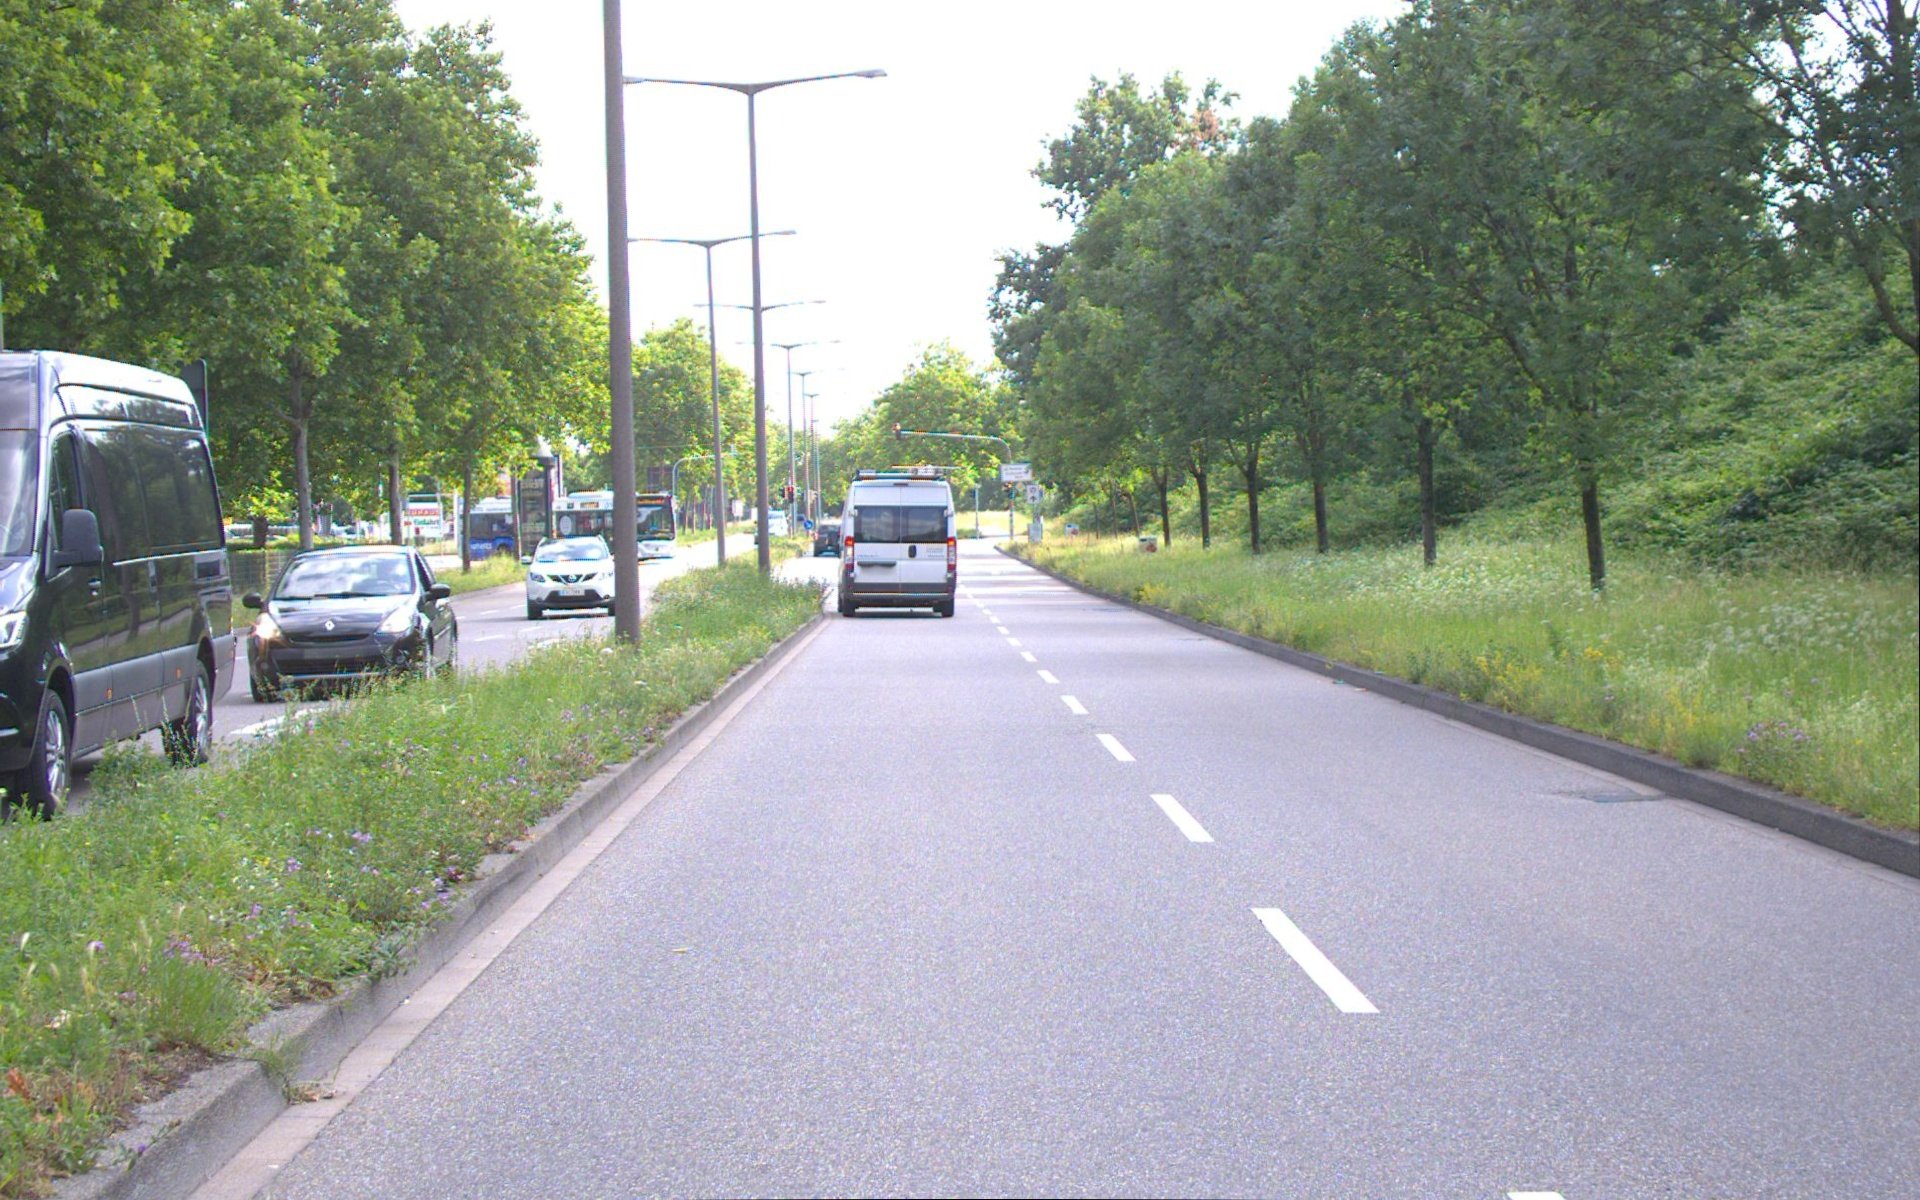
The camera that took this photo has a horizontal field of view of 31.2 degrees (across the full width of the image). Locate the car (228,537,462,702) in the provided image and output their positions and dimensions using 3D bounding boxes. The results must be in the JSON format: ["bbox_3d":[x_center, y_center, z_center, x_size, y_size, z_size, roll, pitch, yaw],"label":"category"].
[{"bbox_3d":[-5.961,0.166,33.712,1.694,1.459,3.941,-2,0,-2],"label":"car"}]

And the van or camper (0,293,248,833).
[{"bbox_3d":[-5.827,-0.188,20.207,2.104,2.650,6.718,-2,1,-3],"label":"van or camper"}]

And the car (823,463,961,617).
[{"bbox_3d":[-1.299,-1.115,63.479,2.197,2.717,4.932,0,1,-5],"label":"car"}]

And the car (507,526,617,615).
[{"bbox_3d":[-7.919,-0.602,68.706,1.814,1.634,4.352,-3,1,-3],"label":"car"}]

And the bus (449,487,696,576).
[{"bbox_3d":[-16.626,-2.873,146.588,12.327,3.263,3.112,-2,1,43],"label":"bus"}]
